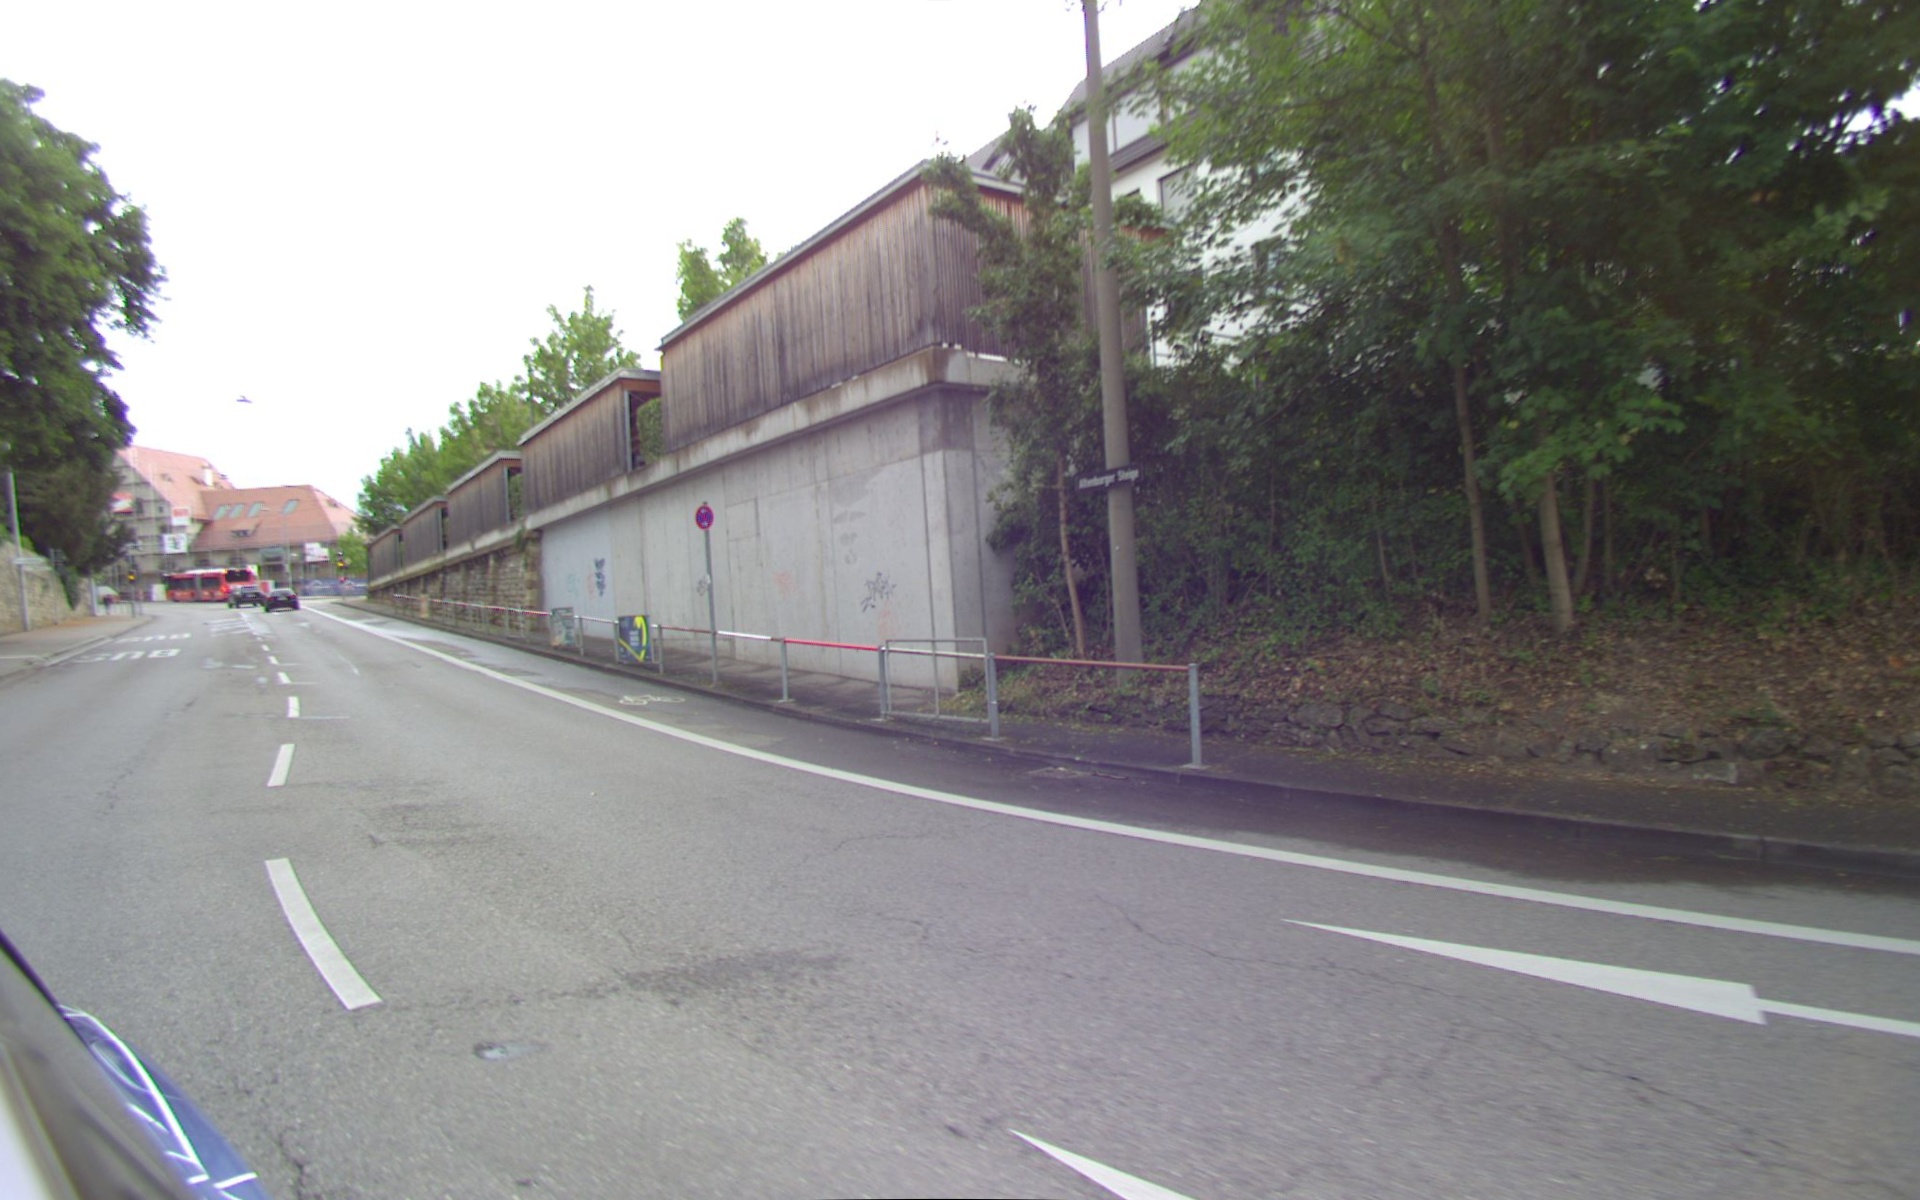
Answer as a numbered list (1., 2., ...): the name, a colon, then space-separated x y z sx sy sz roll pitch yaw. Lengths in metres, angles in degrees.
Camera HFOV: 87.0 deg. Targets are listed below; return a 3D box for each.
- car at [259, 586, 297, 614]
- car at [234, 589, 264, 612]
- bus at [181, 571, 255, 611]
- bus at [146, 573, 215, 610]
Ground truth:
1. car: -43.446 0.023 64.417 1.826 1.729 3.889 -1 0 -37
2. car: -55.374 0.005 78.827 1.826 1.729 3.889 -1 0 -37
3. bus: -71.263 -0.835 97.096 9.463 3.665 2.878 0 0 35
4. bus: -79.008 -0.805 102.494 9.463 3.665 2.878 0 0 35
